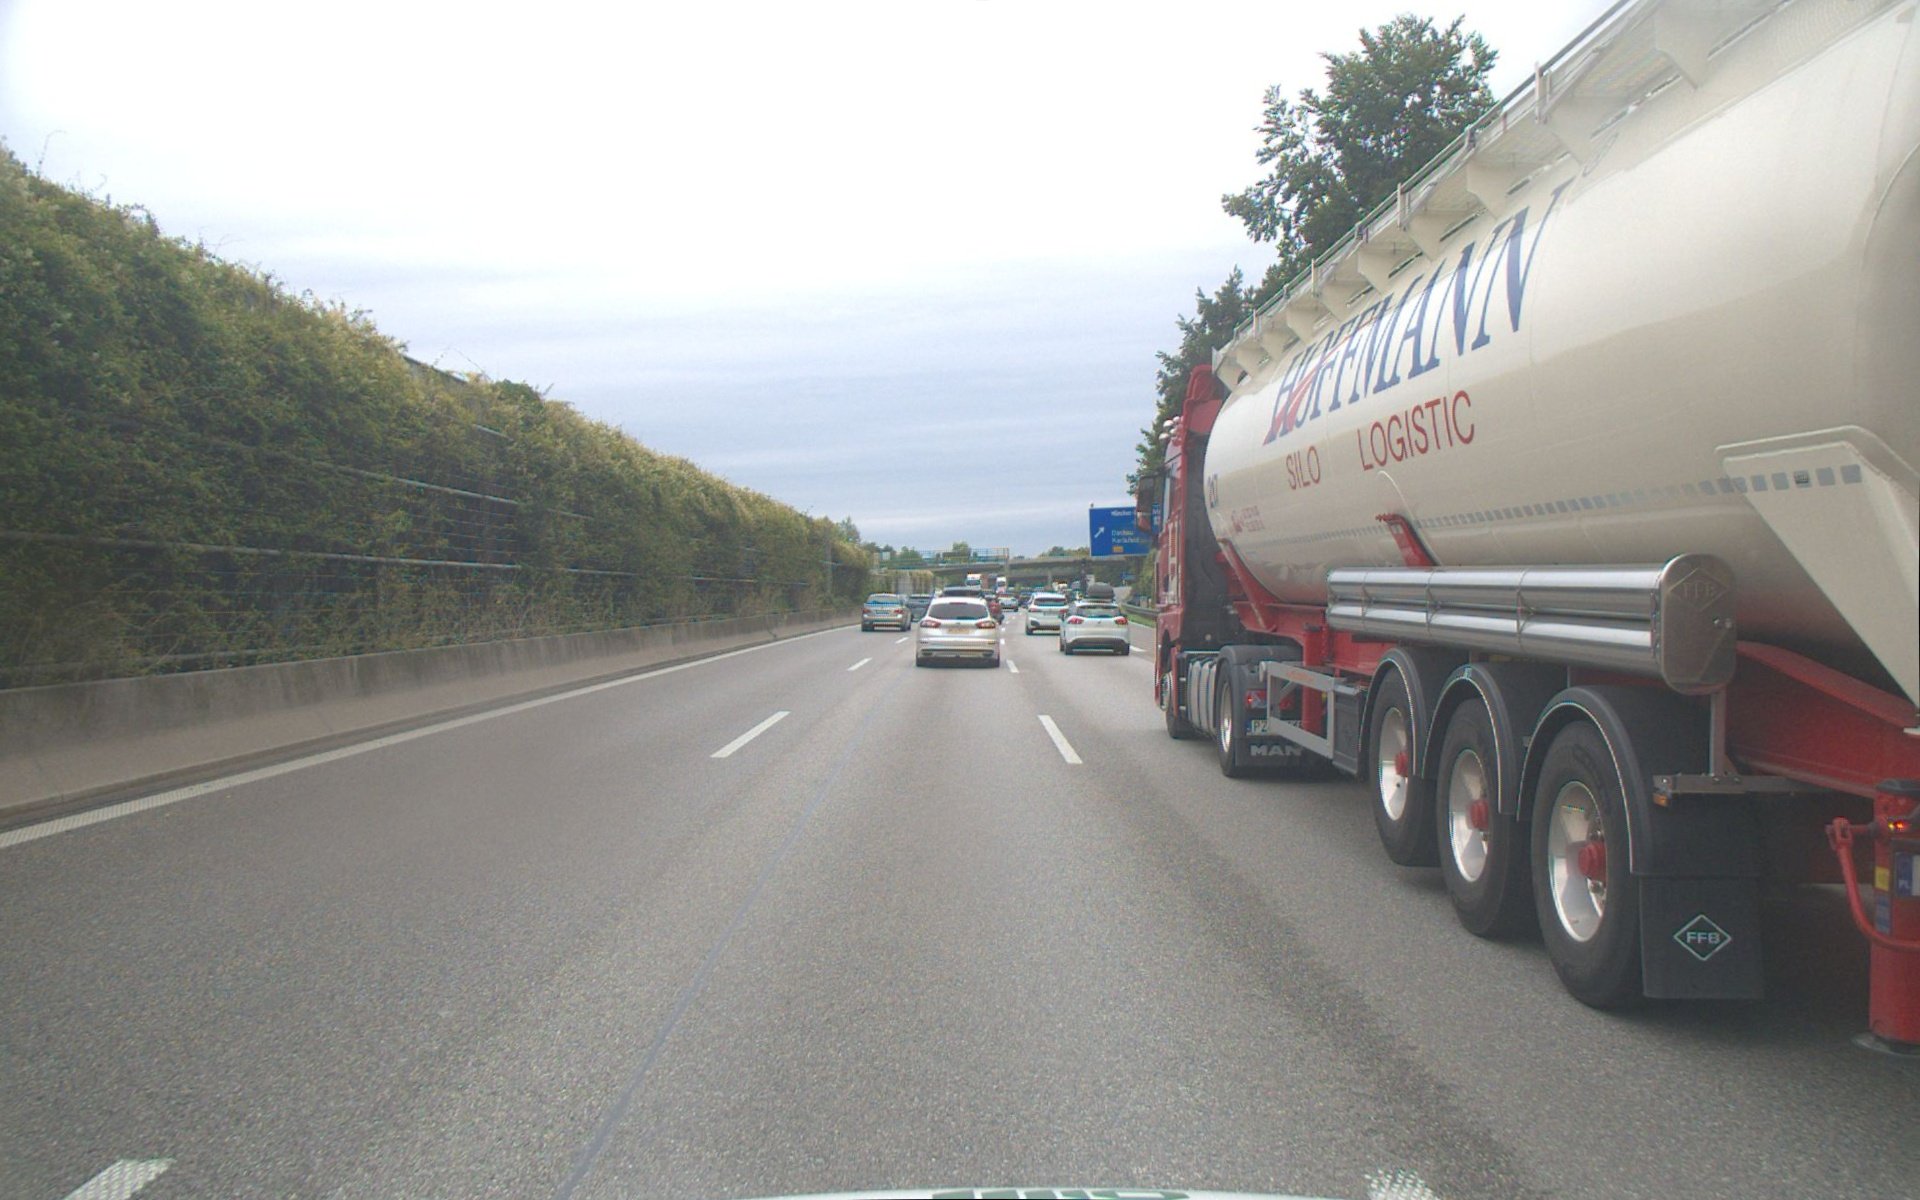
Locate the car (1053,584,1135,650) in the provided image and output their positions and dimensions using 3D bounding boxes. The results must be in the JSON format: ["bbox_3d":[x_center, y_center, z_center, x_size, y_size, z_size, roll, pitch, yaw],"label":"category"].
[{"bbox_3d":[3.564,0.429,44.602,1.779,1.654,5.030,1,0,0],"label":"car"}]

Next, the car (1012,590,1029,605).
[{"bbox_3d":[6.278,-0.254,172.152,1.654,1.566,3.871,0,0,0],"label":"car"}]

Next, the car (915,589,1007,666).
[{"bbox_3d":[-0.050,0.572,36.678,1.853,1.530,5.028,2,0,-2],"label":"car"}]

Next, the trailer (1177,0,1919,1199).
[{"bbox_3d":[3.565,-0.544,9.929,2.614,4.008,13.127,0,0,-1],"label":"trailer"}]

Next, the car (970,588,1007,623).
[{"bbox_3d":[1.432,0.249,82.004,1.654,1.532,3.872,4,1,2],"label":"car"}]

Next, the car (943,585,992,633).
[{"bbox_3d":[0.235,0.302,60.631,1.655,1.532,3.871,4,1,-1],"label":"car"}]

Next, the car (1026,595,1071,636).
[{"bbox_3d":[3.416,0.604,64.437,1.654,1.533,3.872,0,0,2],"label":"car"}]

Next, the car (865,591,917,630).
[{"bbox_3d":[-2.757,0.451,67.024,1.684,1.495,5.031,0,-1,2],"label":"car"}]

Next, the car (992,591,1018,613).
[{"bbox_3d":[3.769,0.188,139.395,1.752,1.811,3.874,-1,0,8],"label":"car"}]

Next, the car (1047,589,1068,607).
[{"bbox_3d":[8.924,-0.171,151.583,1.653,1.566,3.874,0,0,8],"label":"car"}]

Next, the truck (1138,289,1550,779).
[{"bbox_3d":[3.473,-0.523,16.719,2.640,3.981,6.556,0,0,0],"label":"truck"}]

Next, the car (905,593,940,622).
[{"bbox_3d":[-2.009,0.406,90.035,1.684,1.538,5.030,0,0,1],"label":"car"}]
